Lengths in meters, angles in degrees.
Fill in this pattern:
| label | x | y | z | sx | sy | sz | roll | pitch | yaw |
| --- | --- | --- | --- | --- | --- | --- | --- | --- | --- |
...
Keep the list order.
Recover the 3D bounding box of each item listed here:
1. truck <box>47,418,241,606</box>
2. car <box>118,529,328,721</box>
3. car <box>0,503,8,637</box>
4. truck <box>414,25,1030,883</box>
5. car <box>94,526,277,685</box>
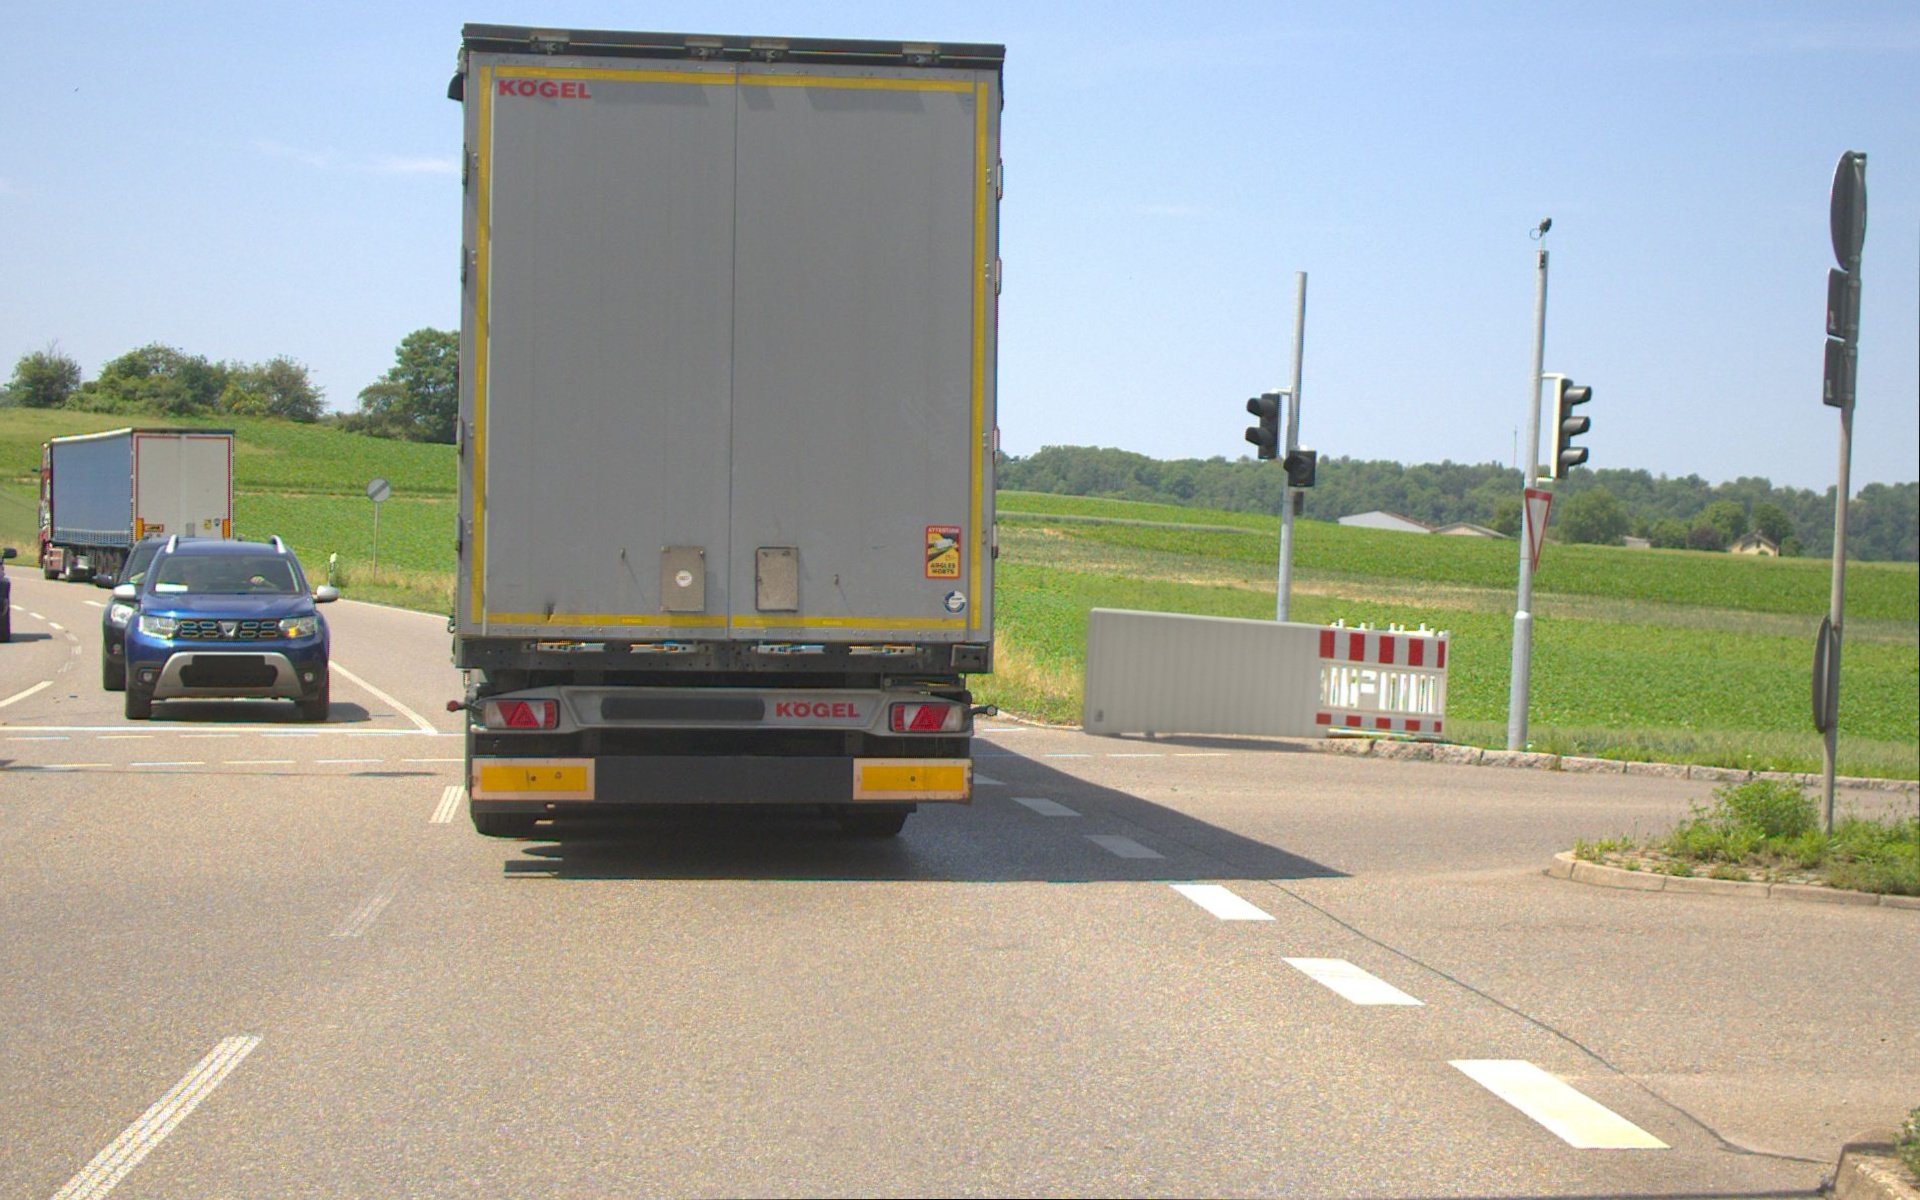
| label | x | y | z | sx | sy | sz | roll | pitch | yaw |
| --- | --- | --- | --- | --- | --- | --- | --- | --- | --- |
| truck | -22.183 | -2.309 | 92.611 | 2.960 | 4.568 | 16.321 | 1 | 1 | -21 |
| car | -6.780 | 0.199 | 31.903 | 1.770 | 1.653 | 4.001 | 1 | 0 | -11 |
| car | -16.036 | -0.503 | 53.606 | 1.993 | 1.999 | 5.166 | 1 | 0 | -18 |
| truck | -1.740 | -0.711 | 20.739 | 2.807 | 3.932 | 9.593 | 1 | 1 | -8 |
| car | -8.537 | 0.042 | 38.138 | 1.770 | 1.653 | 4.001 | 1 | 0 | -10 |
